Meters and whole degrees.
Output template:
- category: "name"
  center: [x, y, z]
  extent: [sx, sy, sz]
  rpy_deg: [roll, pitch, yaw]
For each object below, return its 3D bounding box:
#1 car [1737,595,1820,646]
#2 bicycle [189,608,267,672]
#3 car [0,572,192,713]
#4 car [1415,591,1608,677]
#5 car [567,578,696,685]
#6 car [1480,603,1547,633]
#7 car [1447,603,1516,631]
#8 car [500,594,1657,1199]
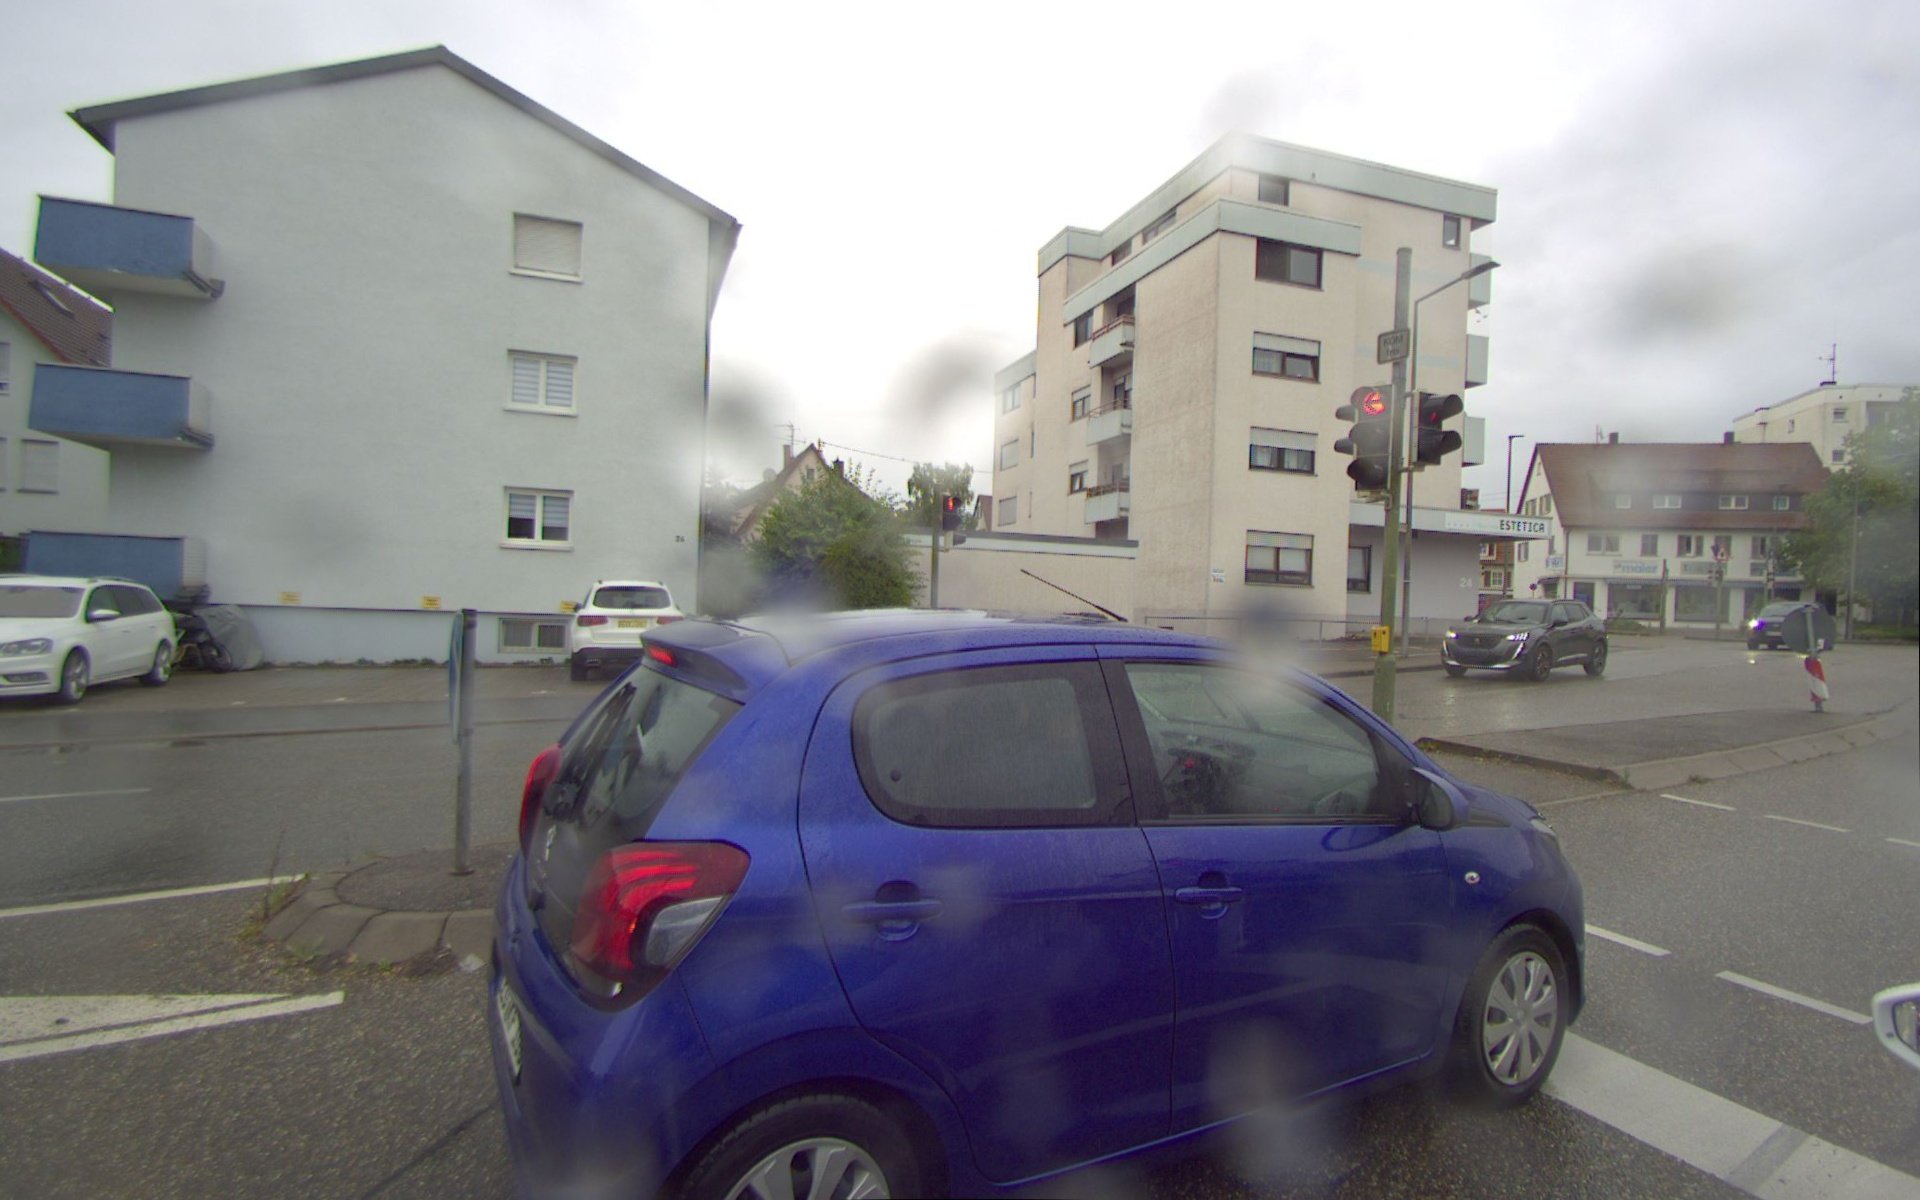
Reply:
- category: "car"
  center: [28.511, 0.718, 34.931]
  extent: [1.859, 1.618, 4.159]
  rpy_deg: [2, 0, 44]
- category: "bicycle"
  center: [-12.690, 0.681, 17.427]
  extent: [1.053, 1.067, 0.345]
  rpy_deg: [0, 1, -30]
- category: "car"
  center: [-11.477, 0.450, 12.512]
  extent: [1.854, 1.480, 4.732]
  rpy_deg: [1, -1, -23]
- category: "car"
  center: [11.044, 0.656, 20.030]
  extent: [3.964, 1.532, 1.952]
  rpy_deg: [2, 0, -38]
- category: "car"
  center: [-5.759, 0.503, 17.581]
  extent: [1.884, 1.637, 3.982]
  rpy_deg: [2, 0, -19]
- category: "car"
  center: [37.928, 1.219, 68.899]
  extent: [3.611, 1.946, 1.889]
  rpy_deg: [2, 0, 14]
- category: "car"
  center: [37.220, 1.223, 71.730]
  extent: [3.987, 1.868, 1.889]
  rpy_deg: [2, 0, 14]
- category: "car"
  center: [0.473, 0.731, 3.106]
  extent: [3.324, 1.432, 1.498]
  rpy_deg: [1, 1, -30]
